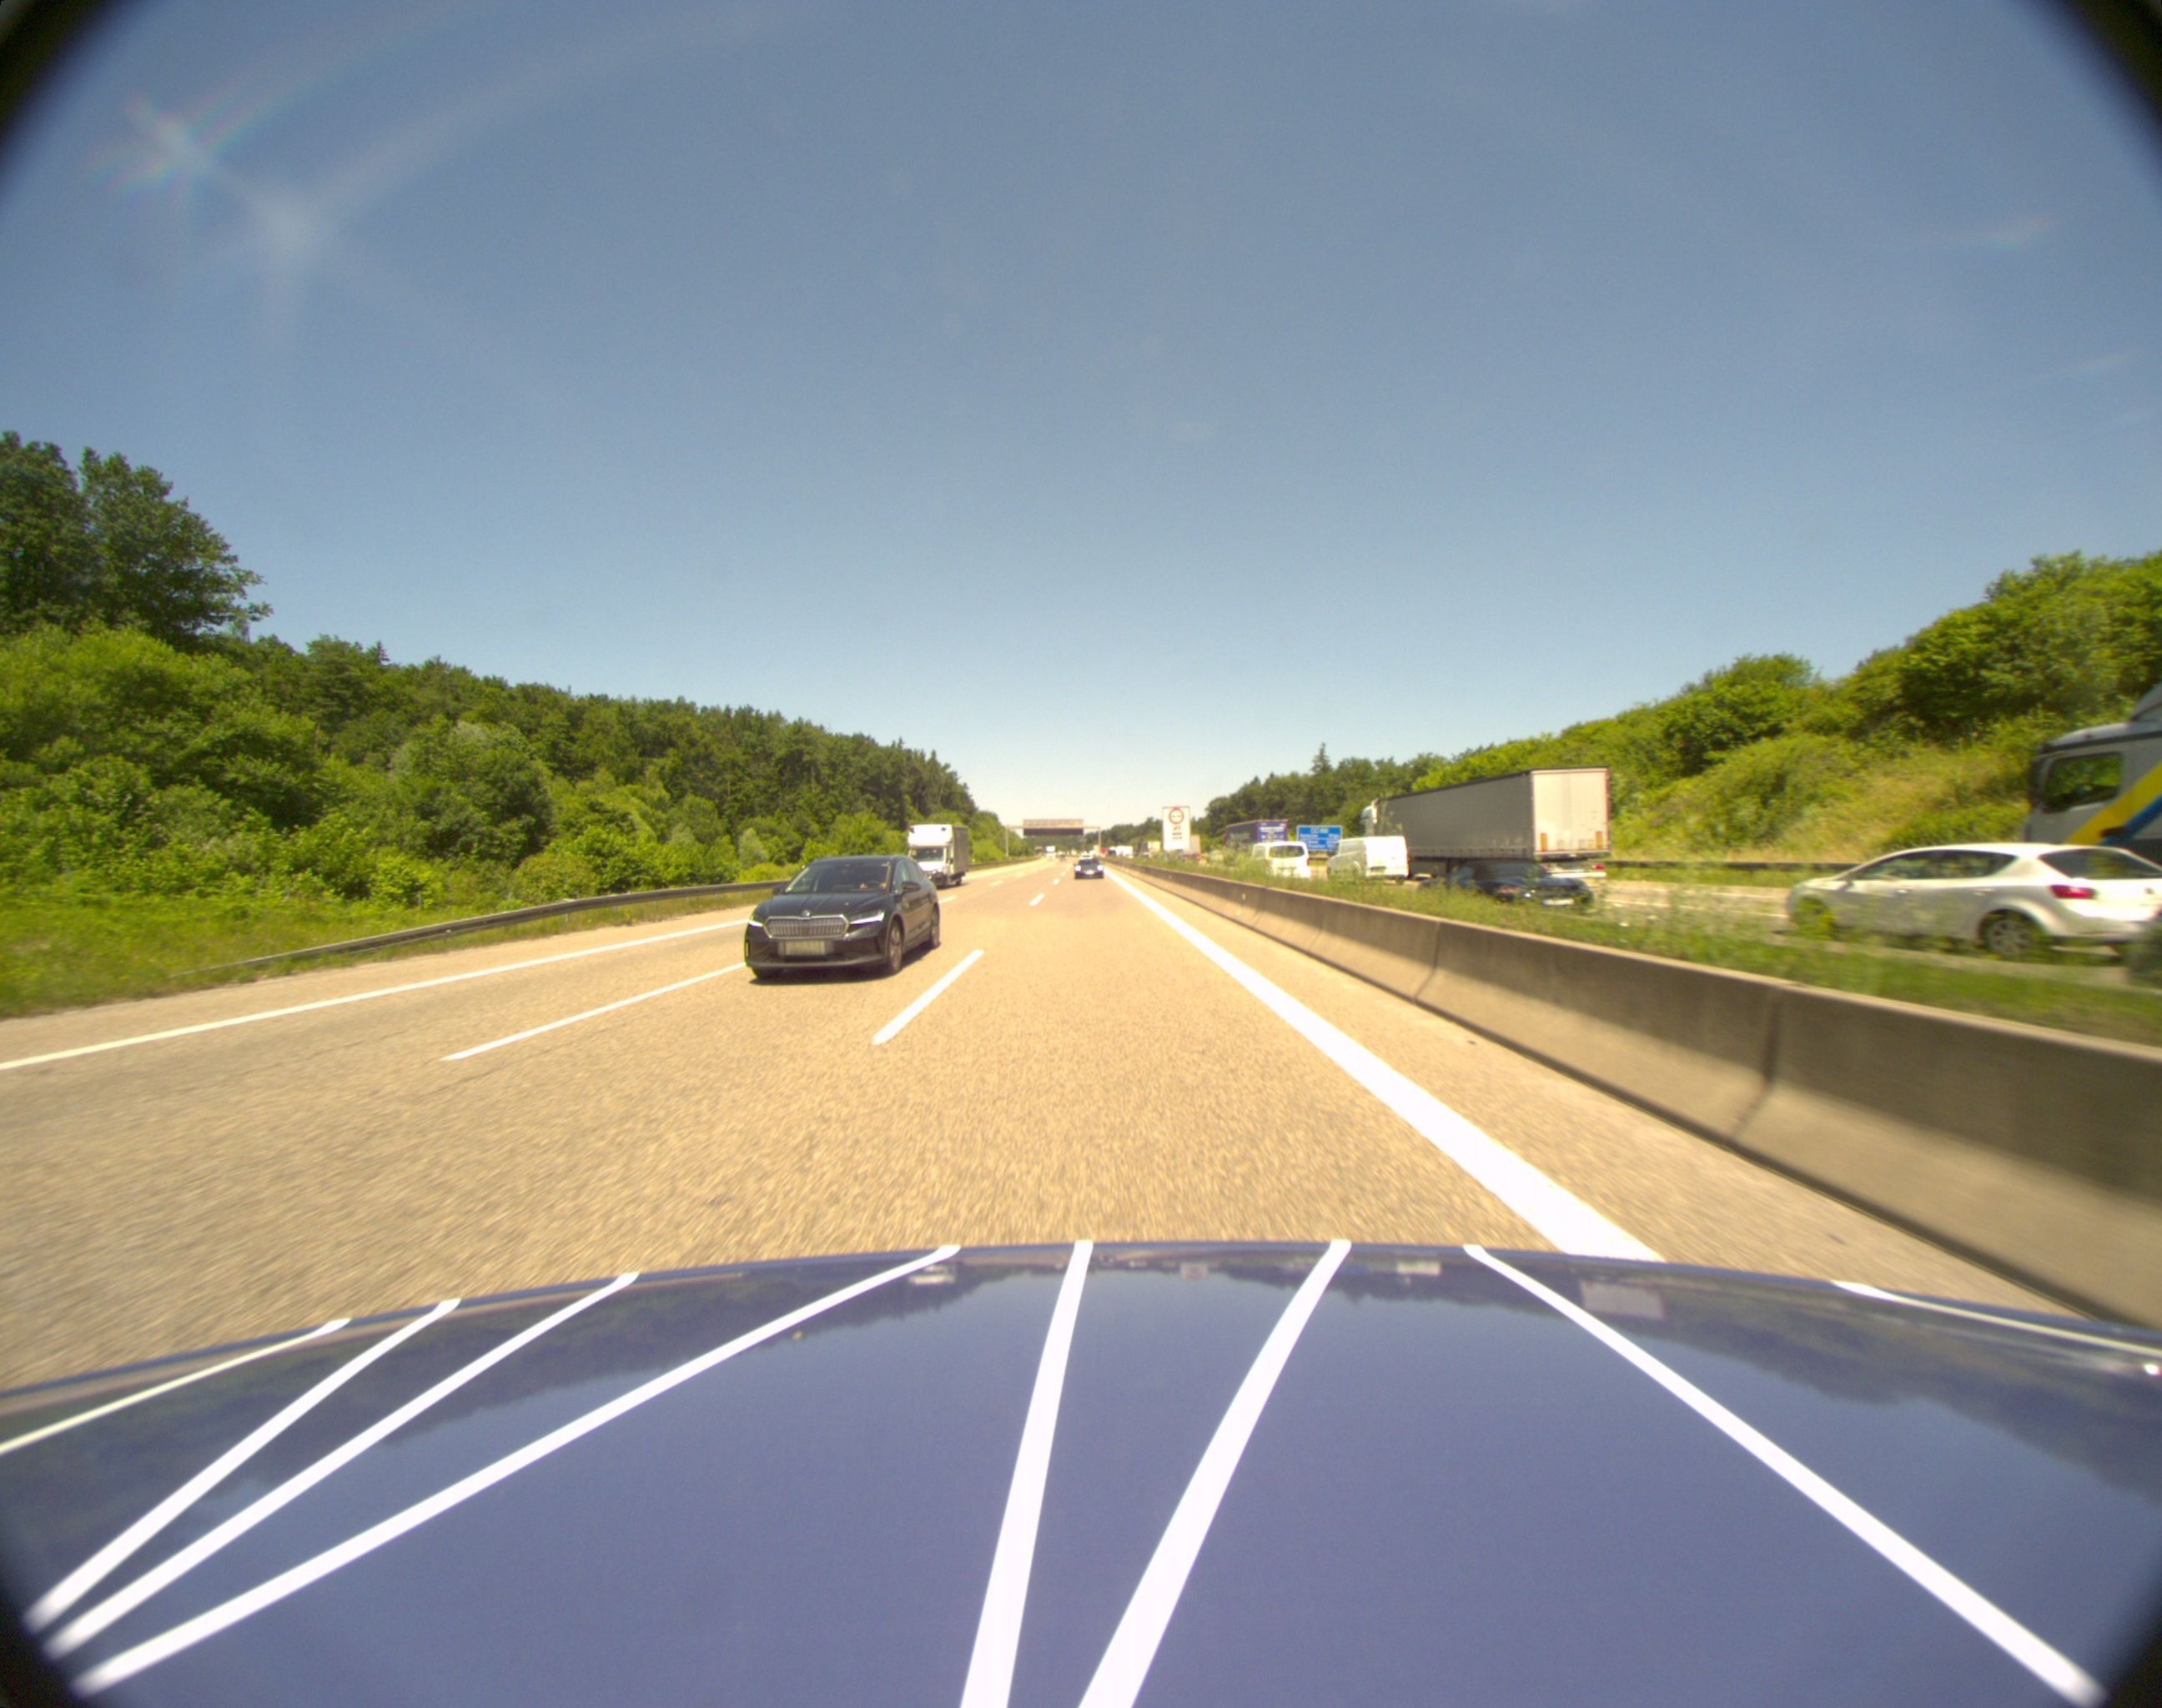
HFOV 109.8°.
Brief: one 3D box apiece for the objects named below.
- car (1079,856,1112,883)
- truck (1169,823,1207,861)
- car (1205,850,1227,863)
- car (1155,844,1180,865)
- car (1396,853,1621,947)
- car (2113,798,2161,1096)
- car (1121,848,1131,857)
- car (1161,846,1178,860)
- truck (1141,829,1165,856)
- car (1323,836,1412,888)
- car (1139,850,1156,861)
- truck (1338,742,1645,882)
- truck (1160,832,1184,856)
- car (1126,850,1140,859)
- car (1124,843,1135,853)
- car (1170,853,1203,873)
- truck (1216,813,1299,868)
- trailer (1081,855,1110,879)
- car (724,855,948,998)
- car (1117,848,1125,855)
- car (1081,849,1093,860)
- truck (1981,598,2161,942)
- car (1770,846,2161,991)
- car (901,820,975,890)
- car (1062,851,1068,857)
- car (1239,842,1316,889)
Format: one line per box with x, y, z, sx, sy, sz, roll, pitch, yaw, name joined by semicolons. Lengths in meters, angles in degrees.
0.906;0.855;44.837;1.718;1.432;4.458;0;1;4;car
16.894;-1.944;121.751;3.705;5.470;19.450;-2;1;1;truck
16.693;0.297;94.097;1.896;1.369;3.999;-2;1;-1;car
8.761;0.075;77.162;1.998;2.002;4.000;-2;0;1;car
8.234;0.778;15.226;1.831;1.472;4.659;-2;1;0;car
7.812;0.592;2.587;1.831;1.905;4.971;-2;1;0;car
10.675;-0.326;179.597;1.998;2.002;4.369;-2;1;1;car
12.872;-0.193;110.557;1.998;2.002;4.000;-2;0;1;car
16.083;-2.579;171.059;3.705;5.470;19.450;-2;1;1;truck
12.096;0.290;32.451;1.896;2.012;4.757;-2;1;-1;car
8.739;0.202;100.093;1.896;1.369;3.999;-2;1;-1;car
16.687;-1.505;34.483;3.705;4.431;19.450;-2;1;1;truck
22.547;-2.475;189.642;3.705;5.470;19.450;-2;1;1;truck
8.559;-0.004;125.298;1.896;1.369;3.999;-2;1;-1;car
8.684;-1.104;136.906;1.674;1.745;4.249;-2;1;1;car
7.987;0.649;57.975;1.896;1.369;3.999;-2;1;-1;car
16.296;-1.259;72.447;3.705;4.431;19.450;-2;1;1;truck
0.949;0.822;48.220;1.689;1.399;3.046;-1;0;3;trailer
-3.369;0.890;11.493;1.990;1.610;4.456;-2;1;-2;car
11.185;-0.748;212.284;2.121;2.002;4.373;-2;0;1;car
0.866;0.064;110.184;1.718;1.432;4.457;-1;1;1;car
15.660;-1.032;2.073;3.705;4.431;19.450;-2;1;1;truck
11.905;0.660;10.074;1.837;1.462;4.034;-2;1;-1;car
-7.418;-0.012;40.424;2.303;3.317;7.621;-2;1;1;car
-4.486;-0.033;213.218;1.719;1.431;4.456;-2;0;-1;car
8.406;0.421;32.937;1.986;1.833;5.019;-2;1;0;car
